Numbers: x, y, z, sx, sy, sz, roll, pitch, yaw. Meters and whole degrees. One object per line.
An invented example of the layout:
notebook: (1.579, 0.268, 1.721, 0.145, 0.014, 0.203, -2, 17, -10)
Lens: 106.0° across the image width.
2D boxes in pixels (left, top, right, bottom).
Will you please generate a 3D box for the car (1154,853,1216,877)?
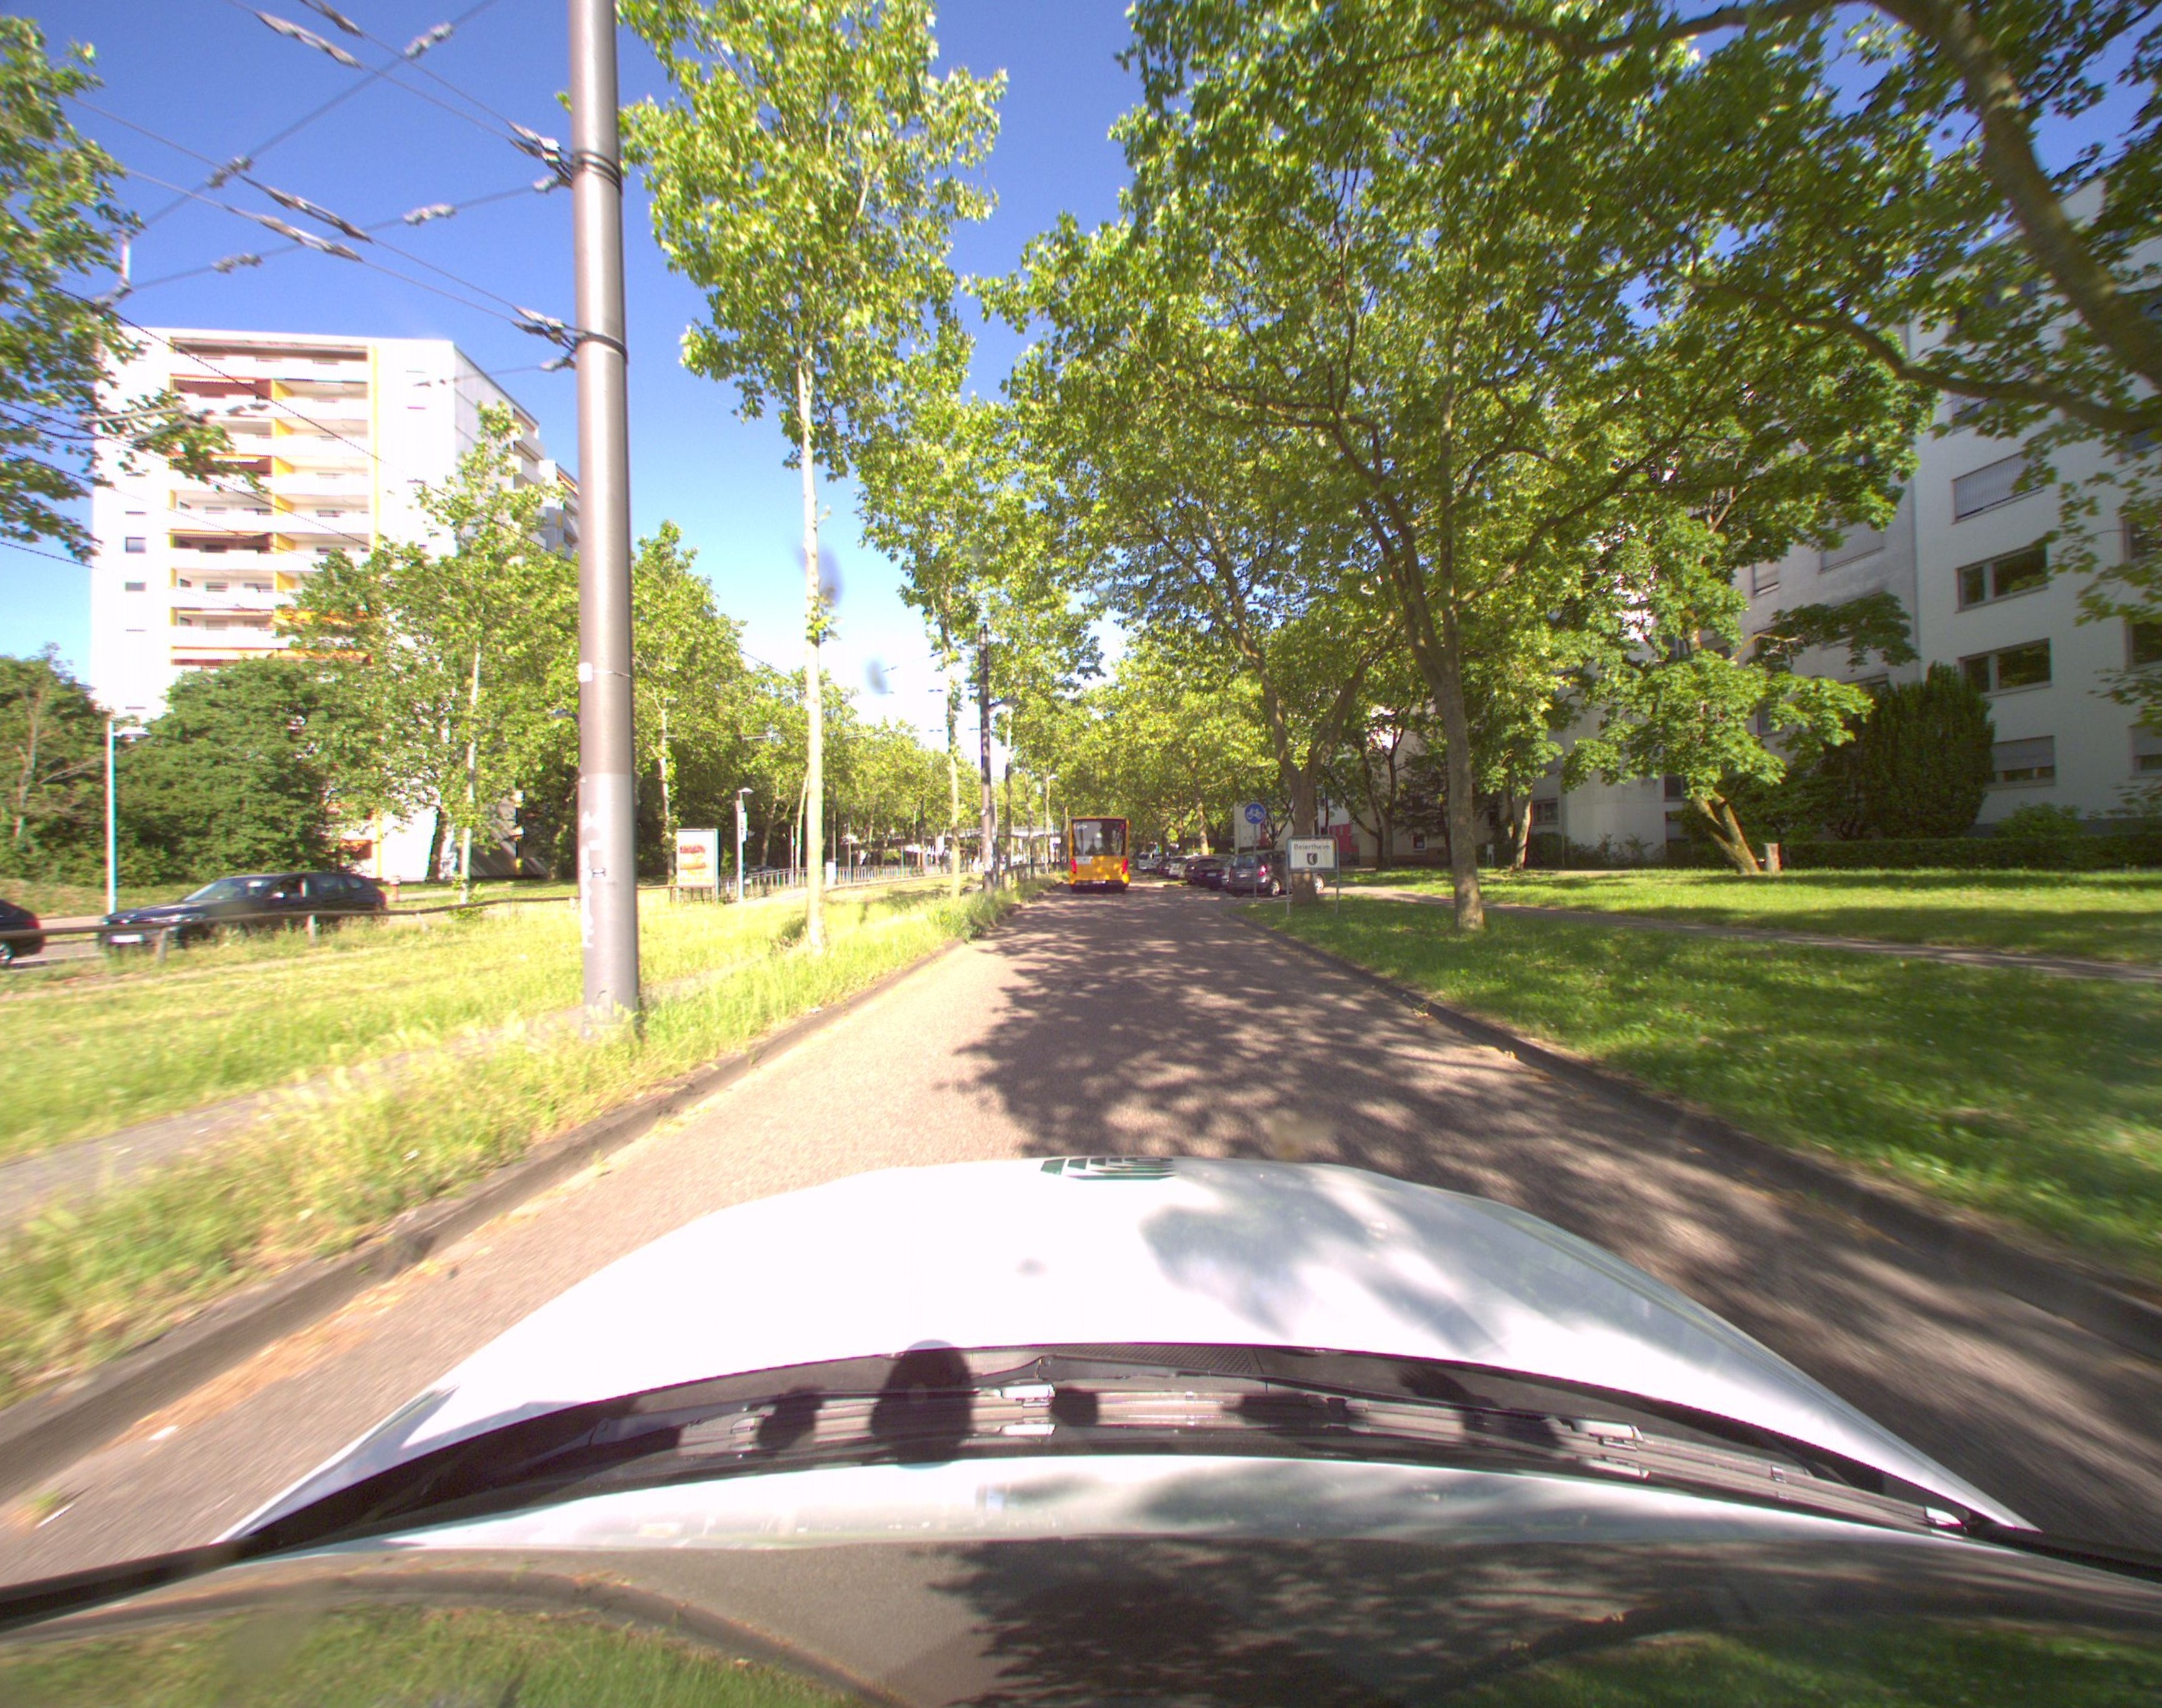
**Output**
car: (7.269, 0.767, 56.748, 4.617, 1.423, 1.778, -2, 0, -44)

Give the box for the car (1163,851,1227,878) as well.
car: (7.372, 0.659, 52.383, 4.020, 1.576, 1.779, -2, 0, -39)

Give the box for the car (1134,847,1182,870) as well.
car: (7.845, 0.431, 82.834, 4.613, 2.052, 1.994, -3, -1, -39)

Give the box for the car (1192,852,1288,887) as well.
car: (6.869, 0.660, 35.094, 4.168, 1.318, 1.779, -2, 0, -39)

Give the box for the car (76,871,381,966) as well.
car: (-17.330, 1.223, 16.934, 1.787, 1.616, 4.235, -1, -1, 2)

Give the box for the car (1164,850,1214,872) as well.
car: (8.916, 0.535, 67.009, 4.022, 1.589, 1.778, -3, -1, -42)

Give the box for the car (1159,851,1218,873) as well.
car: (8.357, 0.585, 63.229, 4.431, 1.428, 1.929, -3, -1, -38)

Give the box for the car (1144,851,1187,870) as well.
car: (8.255, 0.609, 79.652, 4.080, 1.580, 1.810, -3, -1, -42)

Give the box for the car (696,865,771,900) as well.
car: (-17.443, 1.404, 41.094, 1.787, 1.608, 4.269, -1, -1, 2)

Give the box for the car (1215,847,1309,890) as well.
car: (7.139, 0.543, 31.969, 3.603, 1.492, 1.779, -2, 0, -41)

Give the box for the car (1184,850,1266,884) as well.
car: (6.867, 0.609, 38.676, 3.910, 1.445, 1.778, -2, 0, -43)

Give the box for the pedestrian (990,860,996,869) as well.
pedestrian: (-11.797, 1.388, 108.930, 0.775, 1.238, 0.722, -1, -1, 0)

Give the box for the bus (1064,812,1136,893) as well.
bus: (0.855, -0.017, 39.463, 2.890, 3.267, 12.217, -1, -1, 1)

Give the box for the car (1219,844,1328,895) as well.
car: (6.819, 0.530, 28.680, 3.746, 1.593, 1.779, -2, 0, -40)

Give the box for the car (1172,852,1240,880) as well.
car: (7.453, 0.706, 48.485, 4.021, 1.444, 1.779, -2, 0, -40)

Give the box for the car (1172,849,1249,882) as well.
car: (6.725, 0.579, 41.956, 1.777, 1.510, 4.202, -3, 0, 44)

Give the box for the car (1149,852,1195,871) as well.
car: (8.223, 0.691, 73.379, 1.777, 1.510, 4.238, -4, -1, 44)

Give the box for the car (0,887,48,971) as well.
car: (-20.689, 1.387, 13.425, 1.787, 1.510, 4.269, -1, -1, 2)
